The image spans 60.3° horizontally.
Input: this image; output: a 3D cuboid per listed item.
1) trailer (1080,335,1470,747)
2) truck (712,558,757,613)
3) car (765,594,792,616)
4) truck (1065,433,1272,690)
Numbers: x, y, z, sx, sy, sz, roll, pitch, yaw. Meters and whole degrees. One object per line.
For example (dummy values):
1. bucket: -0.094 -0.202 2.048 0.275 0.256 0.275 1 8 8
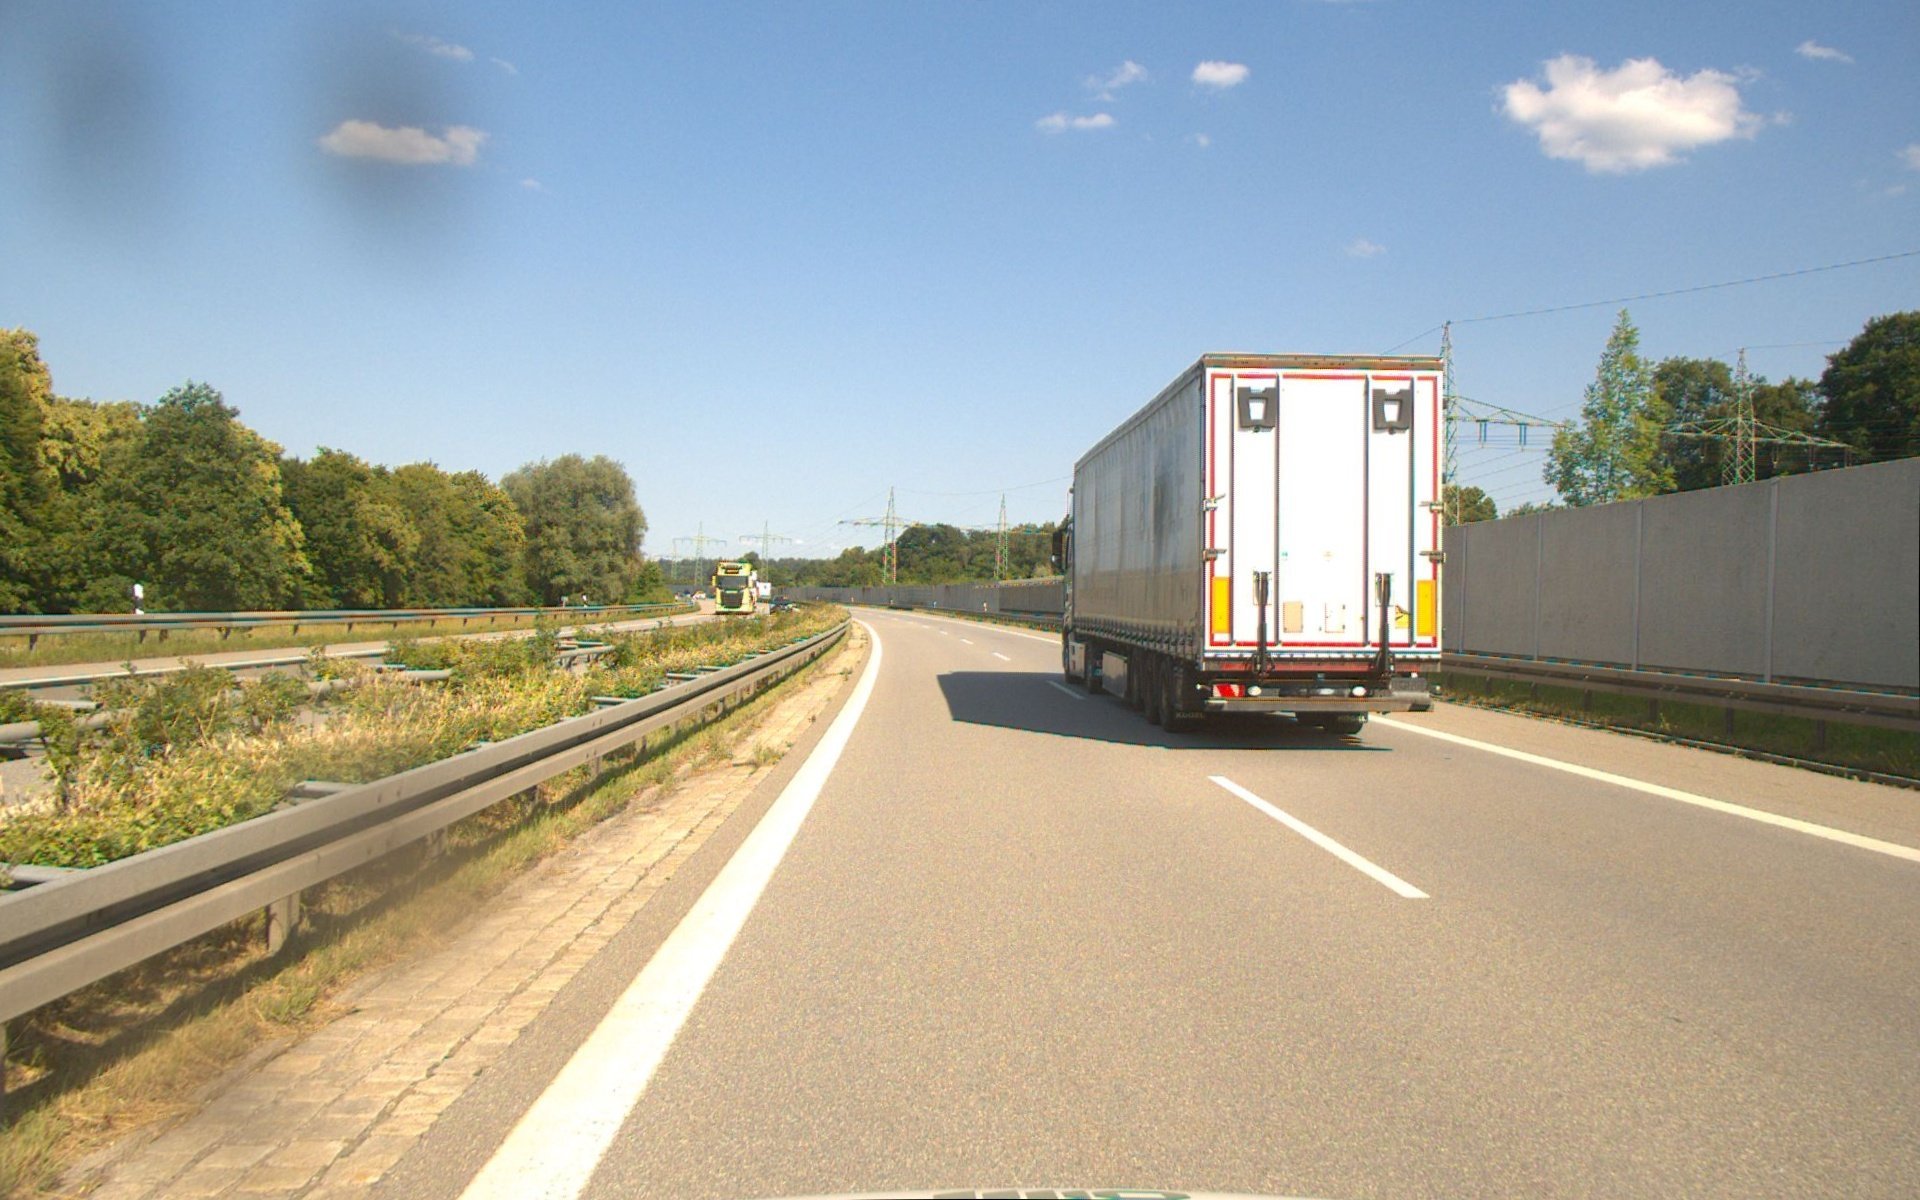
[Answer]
1. trailer: 3.644 -0.615 22.941 2.825 4.137 12.417 -1 0 -1
2. truck: -17.020 -1.082 125.411 2.704 3.975 8.763 -1 0 -4
3. car: -14.182 0.381 129.661 1.954 1.700 3.996 -1 0 -5
4. truck: 3.545 -0.625 29.738 2.773 4.082 6.585 -1 0 -1
